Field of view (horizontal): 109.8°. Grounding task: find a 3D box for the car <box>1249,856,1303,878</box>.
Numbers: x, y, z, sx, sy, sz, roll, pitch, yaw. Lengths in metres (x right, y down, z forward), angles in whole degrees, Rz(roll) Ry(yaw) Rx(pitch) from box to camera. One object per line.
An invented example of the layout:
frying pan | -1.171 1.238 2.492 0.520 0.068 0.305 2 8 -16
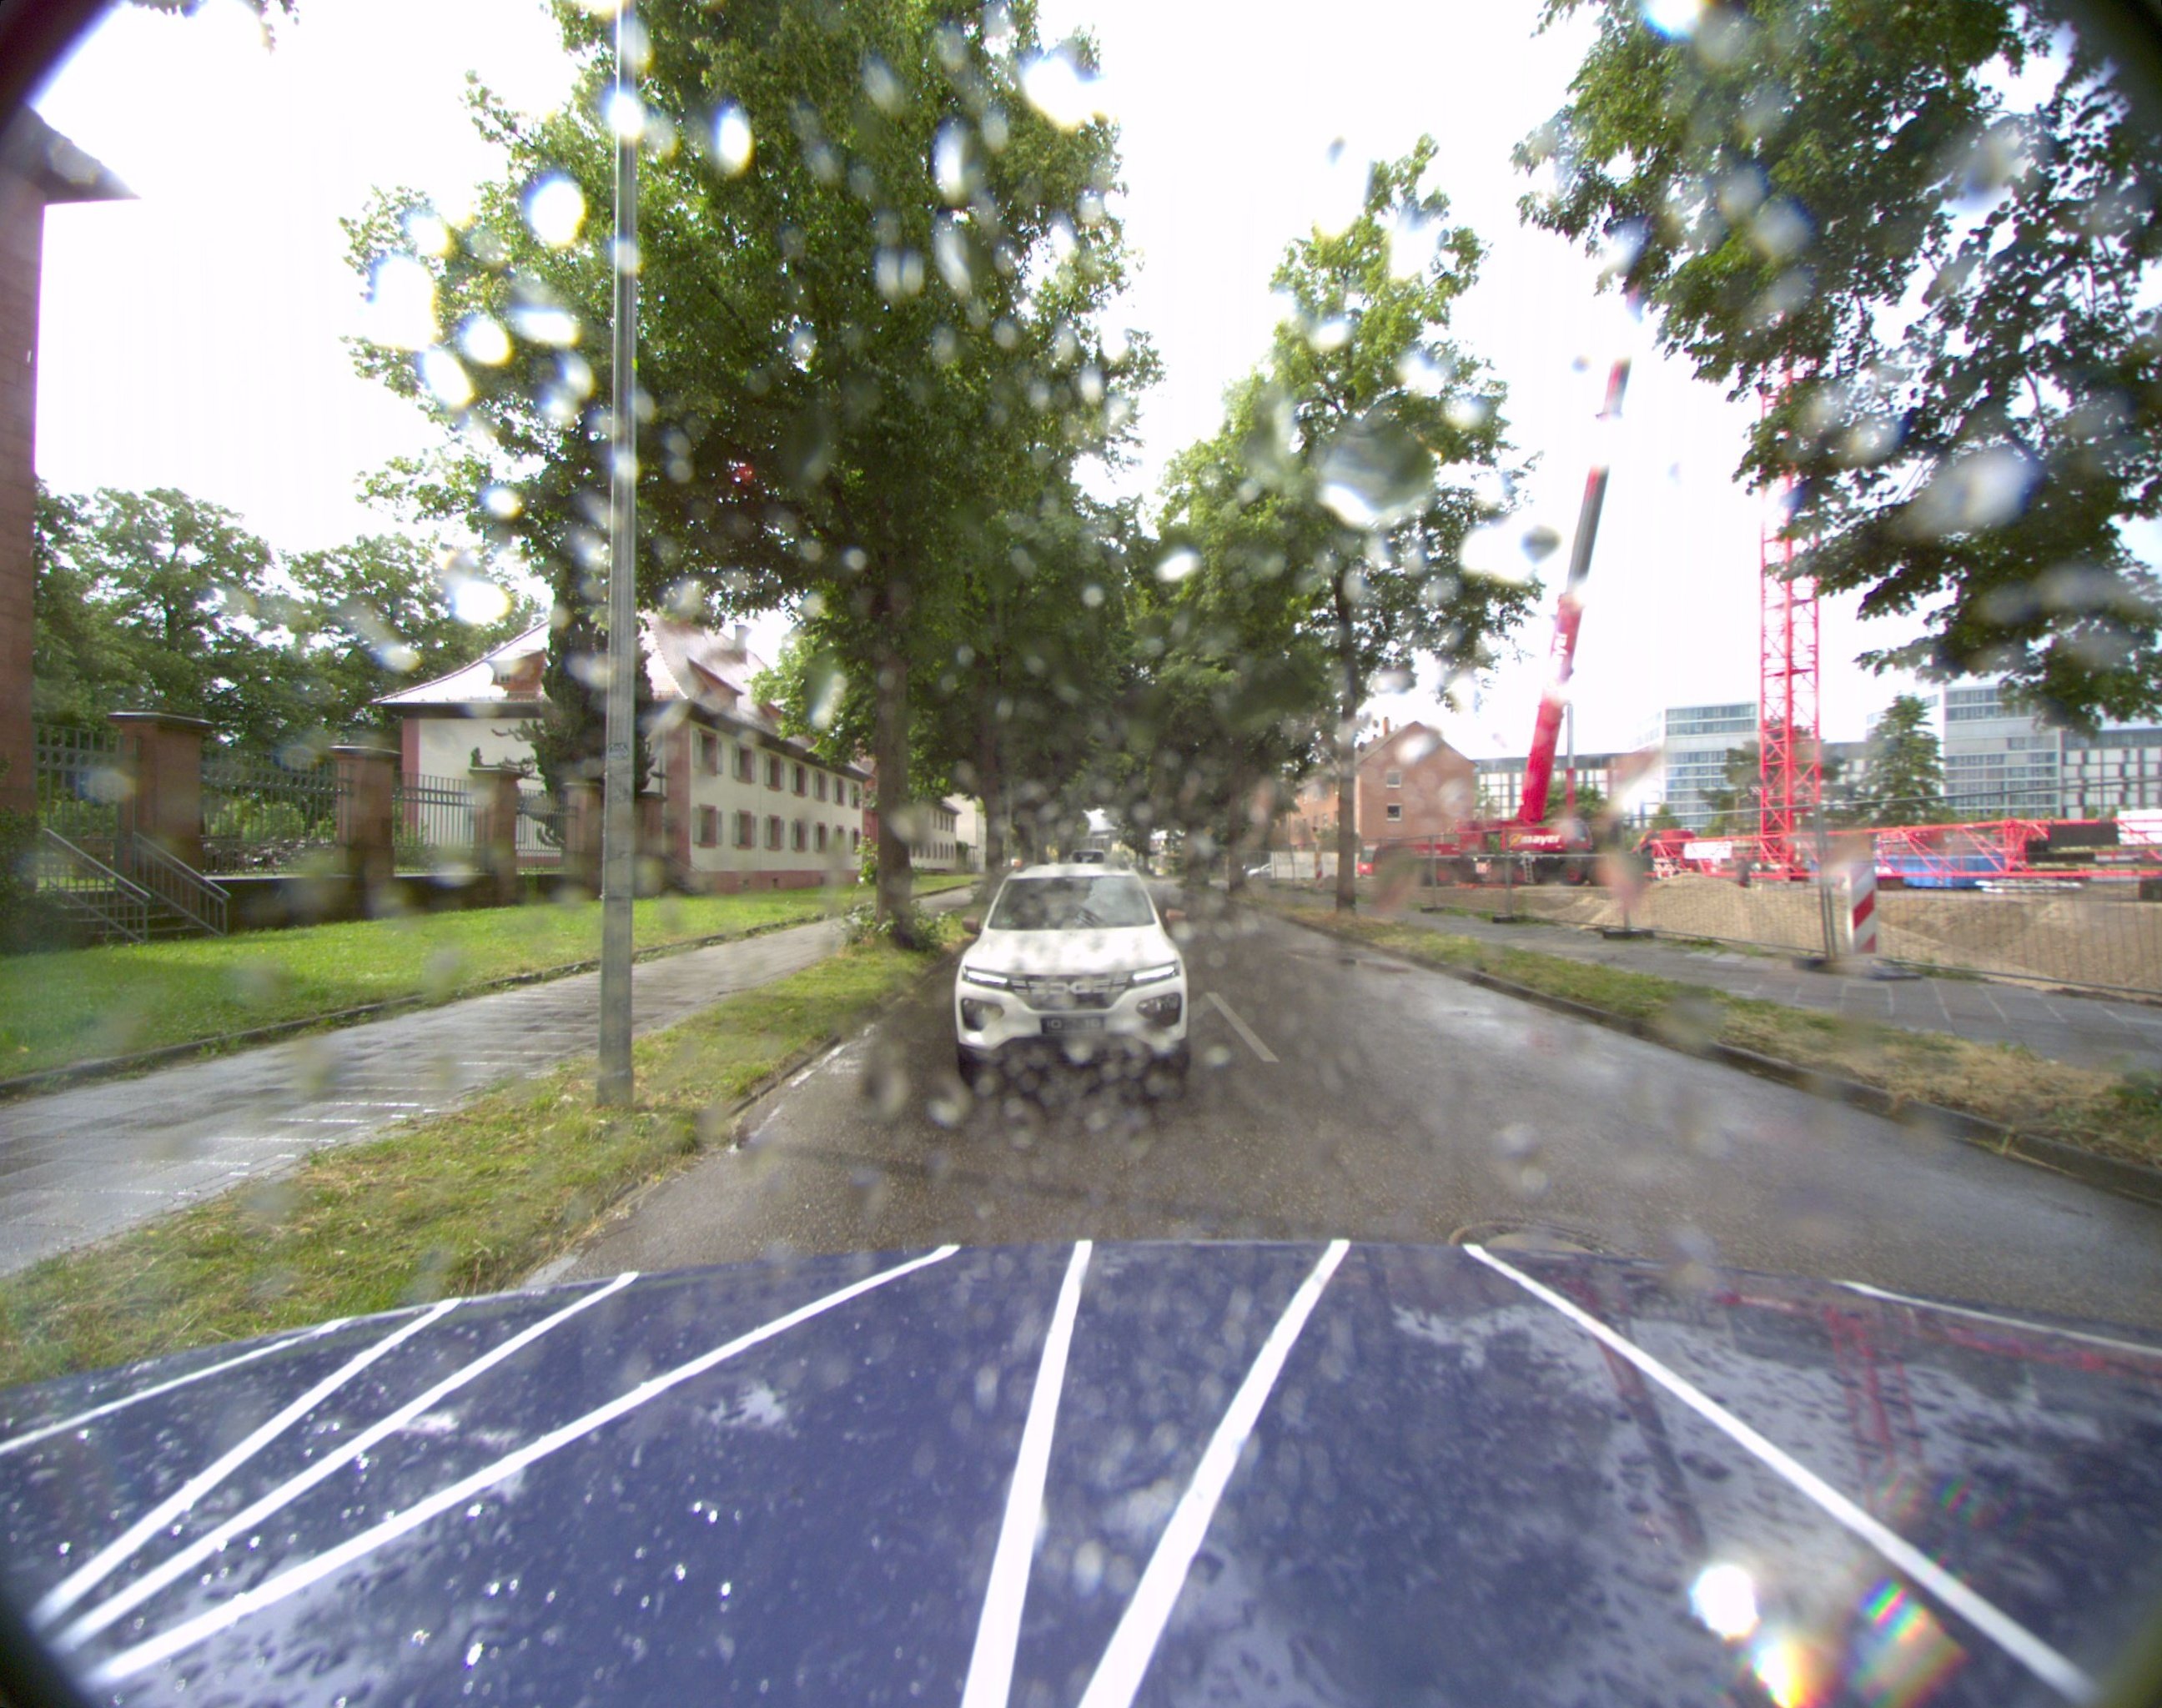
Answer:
car | 14.985 0.987 58.365 3.864 1.543 1.700 -2 1 21

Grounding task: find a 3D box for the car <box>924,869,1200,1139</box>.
car | -0.077 0.940 6.551 1.608 1.499 4.000 -2 0 1

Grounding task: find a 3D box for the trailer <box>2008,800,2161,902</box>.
trailer | 35.762 -0.142 20.911 2.968 3.214 14.309 -4 0 0

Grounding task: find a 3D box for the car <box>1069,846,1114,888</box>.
car | 0.477 0.619 39.636 2.107 1.990 5.433 -2 0 -1

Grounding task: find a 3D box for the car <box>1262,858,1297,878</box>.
car | 16.269 1.131 62.366 1.693 1.521 3.999 -2 0 -1

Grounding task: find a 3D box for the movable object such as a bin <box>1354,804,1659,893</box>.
movable object such as a bin | 24.898 -0.309 45.177 15.941 4.532 3.102 -2 1 4
